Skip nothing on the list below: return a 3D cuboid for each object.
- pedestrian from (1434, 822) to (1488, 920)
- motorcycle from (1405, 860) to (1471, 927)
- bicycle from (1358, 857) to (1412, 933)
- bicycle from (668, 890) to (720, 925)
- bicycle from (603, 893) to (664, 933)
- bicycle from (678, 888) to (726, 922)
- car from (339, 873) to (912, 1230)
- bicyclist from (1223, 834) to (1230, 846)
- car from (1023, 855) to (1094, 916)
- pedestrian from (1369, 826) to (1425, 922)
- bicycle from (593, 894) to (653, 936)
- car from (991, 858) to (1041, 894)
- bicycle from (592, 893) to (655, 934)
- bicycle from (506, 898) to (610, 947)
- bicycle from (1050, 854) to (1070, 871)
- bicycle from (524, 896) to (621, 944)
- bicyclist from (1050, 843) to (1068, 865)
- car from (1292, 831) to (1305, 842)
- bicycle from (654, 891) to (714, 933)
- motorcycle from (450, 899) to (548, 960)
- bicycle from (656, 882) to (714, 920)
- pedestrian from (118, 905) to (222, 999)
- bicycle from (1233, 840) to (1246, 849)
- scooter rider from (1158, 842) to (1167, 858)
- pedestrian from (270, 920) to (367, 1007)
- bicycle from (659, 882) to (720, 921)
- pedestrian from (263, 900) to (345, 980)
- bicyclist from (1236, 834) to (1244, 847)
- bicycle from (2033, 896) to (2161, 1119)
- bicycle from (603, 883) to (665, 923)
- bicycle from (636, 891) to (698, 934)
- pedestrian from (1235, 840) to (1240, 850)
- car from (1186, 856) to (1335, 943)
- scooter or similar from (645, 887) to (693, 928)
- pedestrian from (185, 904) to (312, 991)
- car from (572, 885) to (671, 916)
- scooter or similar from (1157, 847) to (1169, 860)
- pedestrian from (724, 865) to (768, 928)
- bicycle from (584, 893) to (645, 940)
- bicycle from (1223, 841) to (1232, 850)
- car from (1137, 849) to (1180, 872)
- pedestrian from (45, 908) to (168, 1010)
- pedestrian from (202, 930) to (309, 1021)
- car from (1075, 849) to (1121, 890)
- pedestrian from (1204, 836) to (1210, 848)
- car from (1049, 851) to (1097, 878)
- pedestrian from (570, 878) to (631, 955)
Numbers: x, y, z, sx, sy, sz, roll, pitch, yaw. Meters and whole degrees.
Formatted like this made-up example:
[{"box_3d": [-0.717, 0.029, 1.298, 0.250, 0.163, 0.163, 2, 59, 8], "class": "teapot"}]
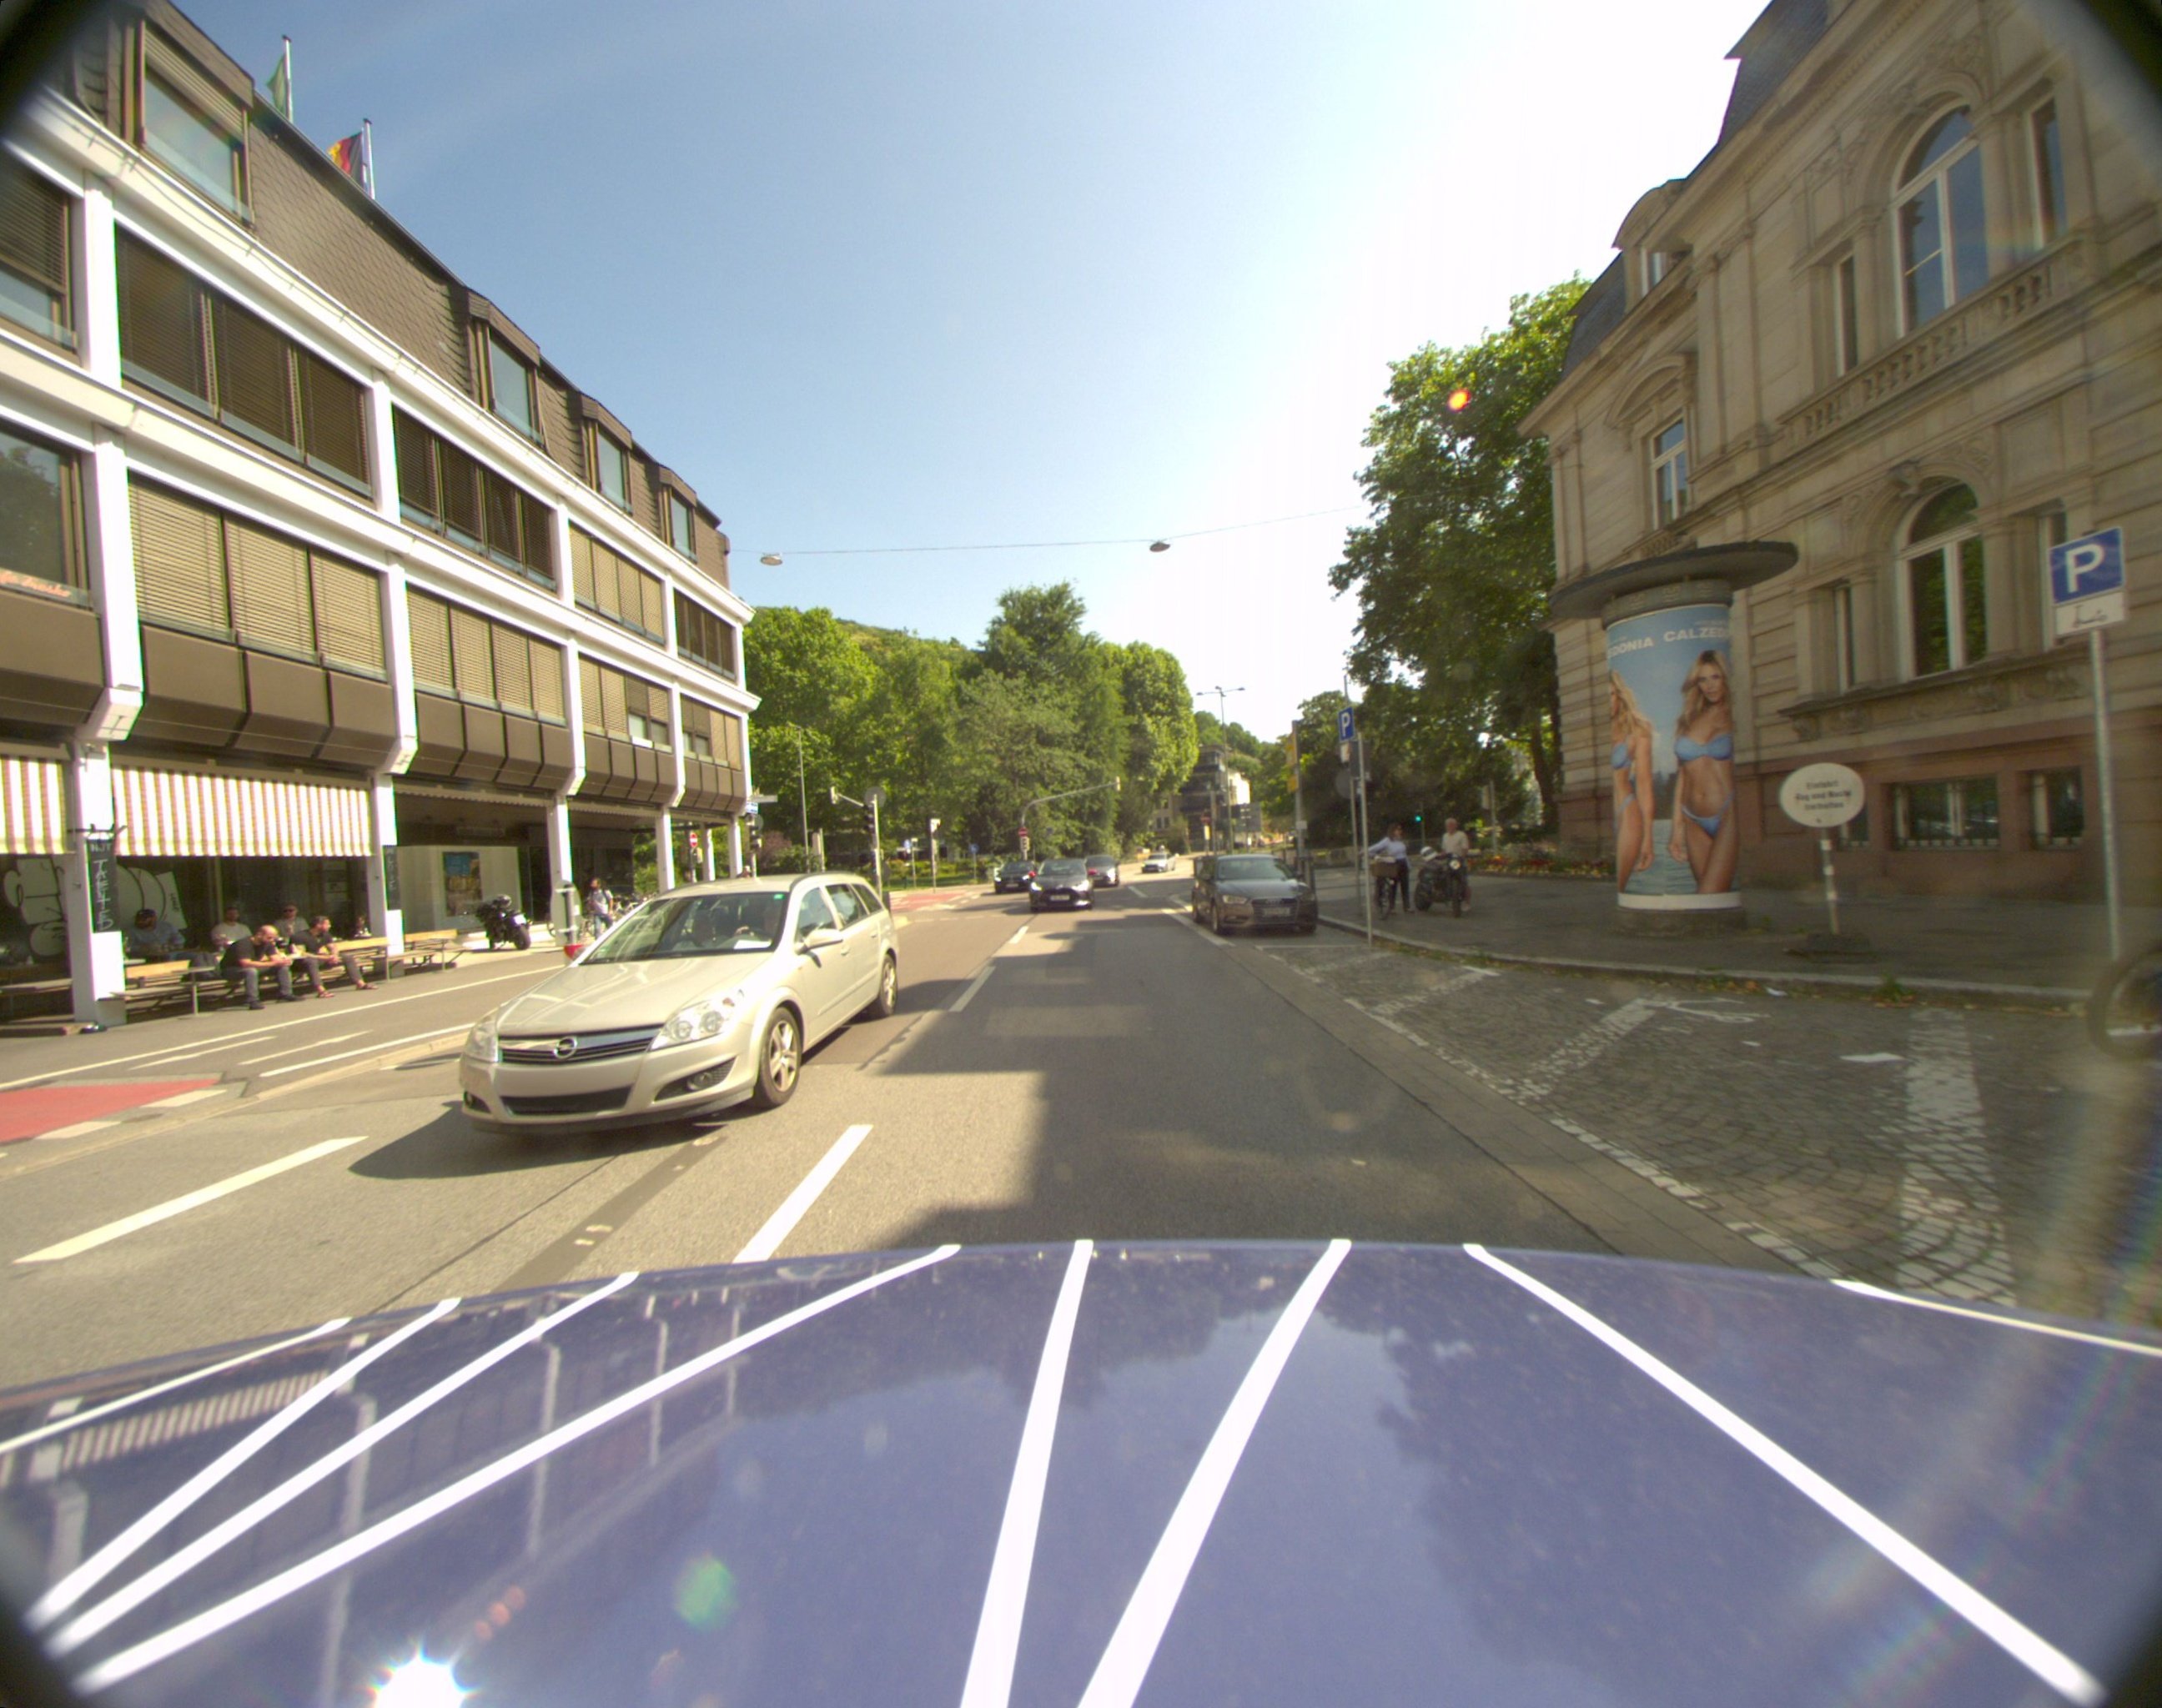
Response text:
[{"box_3d": [6.690, 0.281, 13.404, 0.550, 1.656, 0.937, -3, 2, 10], "class": "pedestrian"}, {"box_3d": [6.266, 0.657, 13.439, 0.454, 0.992, 2.162, -5, 1, 11], "class": "motorcycle"}, {"box_3d": [5.419, 0.686, 13.632, 0.430, 1.114, 2.244, -5, 2, 12], "class": "bicycle"}, {"box_3d": [-13.044, 1.775, 25.636, 1.474, 1.059, 0.376, -2, 1, -42], "class": "bicycle"}, {"box_3d": [-13.237, 1.738, 22.470, 1.720, 1.114, 0.278, -2, 1, 8], "class": "bicycle"}, {"box_3d": [-13.152, 1.762, 26.406, 0.308, 1.059, 1.474, -2, 1, 36], "class": "bicycle"}, {"box_3d": [-2.697, 1.014, 5.894, 1.712, 1.513, 4.406, -4, 0, 0], "class": "car"}, {"box_3d": [19.992, -1.929, 104.244, 0.765, 1.627, 0.944, -3, 2, 21], "class": "bicyclist"}, {"box_3d": [-0.637, 0.852, 22.369, 1.810, 1.443, 3.953, -4, 1, -1], "class": "car"}, {"box_3d": [5.809, 0.352, 13.990, 0.696, 1.685, 0.691, -3, 2, 3], "class": "pedestrian"}, {"box_3d": [-12.983, 1.728, 21.542, 1.573, 1.114, 0.278, -2, 1, 8], "class": "bicycle"}, {"box_3d": [-2.946, 0.963, 35.276, 1.848, 1.421, 4.212, -3, 1, 1], "class": "car"}, {"box_3d": [-13.286, 1.729, 22.076, 1.720, 1.114, 0.278, -2, 1, 8], "class": "bicycle"}, {"box_3d": [-13.686, 1.786, 19.902, 2.243, 1.090, 0.277, -4, 0, -12], "class": "bicycle"}, {"box_3d": [-1.567, 0.605, 56.150, 0.782, 1.114, 1.680, -2, 1, 24], "class": "bicycle"}, {"box_3d": [-13.711, 1.764, 20.521, 2.242, 1.114, 0.277, -4, 0, -6], "class": "bicycle"}, {"box_3d": [-1.611, 0.010, 56.128, 0.866, 1.566, 0.944, -2, 2, 24], "class": "bicyclist"}, {"box_3d": [39.430, -3.213, 137.510, 1.848, 1.777, 4.005, -3, 0, 21], "class": "car"}, {"box_3d": [-12.079, 1.745, 23.215, 0.277, 1.114, 2.244, -3, 0, 9], "class": "bicycle"}, {"box_3d": [-13.798, 1.753, 18.009, 2.237, 1.283, 0.950, -2, 2, 29], "class": "motorcycle"}, {"box_3d": [-15.201, 1.797, 29.199, 1.862, 1.309, 0.529, -2, 0, -38], "class": "bicycle"}, {"box_3d": [-14.740, 1.569, 12.317, 0.713, 1.389, 0.696, -3, 2, 0], "class": "pedestrian"}, {"box_3d": [21.892, -1.318, 104.824, 0.709, 1.048, 2.211, -5, 0, 39], "class": "bicycle"}, {"box_3d": [8.997, -0.412, 83.865, 0.822, 1.662, 0.710, -2, 2, 22], "class": "scooter rider"}, {"box_3d": [-11.815, 1.685, 11.788, 0.712, 1.210, 0.697, -3, 2, 10], "class": "pedestrian"}, {"box_3d": [-14.834, 1.788, 28.819, 1.970, 1.309, 0.529, -2, 0, -38], "class": "bicycle"}, {"box_3d": [-14.711, 1.615, 14.403, 0.713, 1.389, 0.696, -3, 2, 0], "class": "pedestrian"}, {"box_3d": [21.980, -1.861, 104.799, 0.709, 1.603, 0.733, -5, 0, 39], "class": "bicyclist"}, {"box_3d": [6.386, 0.747, 4.102, 1.969, 1.012, 0.670, -6, 2, -10], "class": "bicycle"}, {"box_3d": [-17.322, 1.868, 29.451, 1.970, 1.414, 0.529, -2, 0, -38], "class": "bicycle"}, {"box_3d": [-12.508, 1.750, 23.050, 0.277, 1.114, 2.244, -3, 0, 9], "class": "bicycle"}, {"box_3d": [26.437, -1.463, 128.225, 0.601, 1.695, 0.605, -3, 1, 25], "class": "pedestrian"}, {"box_3d": [3.238, 0.756, 14.584, 1.941, 1.346, 4.250, -3, 0, 2], "class": "car"}, {"box_3d": [-13.347, 1.714, 24.604, 1.248, 1.225, 0.480, -4, 1, 7], "class": "scooter or similar"}, {"box_3d": [-14.707, 1.629, 13.466, 0.898, 1.343, 1.105, -3, 2, 0], "class": "pedestrian"}, {"box_3d": [-24.454, 2.443, 40.549, 4.094, 1.355, 1.860, -3, -1, 1], "class": "car"}, {"box_3d": [9.128, -0.087, 84.125, 0.819, 1.291, 1.698, -3, 2, 22], "class": "scooter or similar"}, {"box_3d": [-10.117, 1.265, 22.977, 0.834, 1.825, 0.697, -3, 2, 10], "class": "pedestrian"}, {"box_3d": [-12.995, 1.733, 21.174, 1.548, 1.200, 0.278, -4, 0, 8], "class": "bicycle"}, {"box_3d": [20.123, -1.183, 104.403, 0.758, 1.114, 2.004, -2, 2, 22], "class": "bicycle"}, {"box_3d": [5.813, 0.472, 56.485, 1.939, 1.421, 4.555, -3, 1, 21], "class": "car"}, {"box_3d": [-14.687, 1.565, 11.474, 0.815, 1.388, 0.696, -4, 2, -1], "class": "pedestrian"}, {"box_3d": [-11.857, 1.732, 10.933, 0.712, 1.166, 0.697, -3, 2, 10], "class": "pedestrian"}, {"box_3d": [0.806, 0.654, 34.543, 1.889, 1.674, 4.142, -3, 1, 3], "class": "car"}, {"box_3d": [18.143, -1.746, 109.568, 0.710, 1.663, 0.535, -3, 1, 18], "class": "pedestrian"}, {"box_3d": [-0.450, 0.652, 49.344, 1.887, 1.674, 4.147, -2, 0, 17], "class": "car"}, {"box_3d": [-11.064, 1.427, 17.510, 0.834, 1.654, 0.697, -3, 2, 10], "class": "pedestrian"}]
